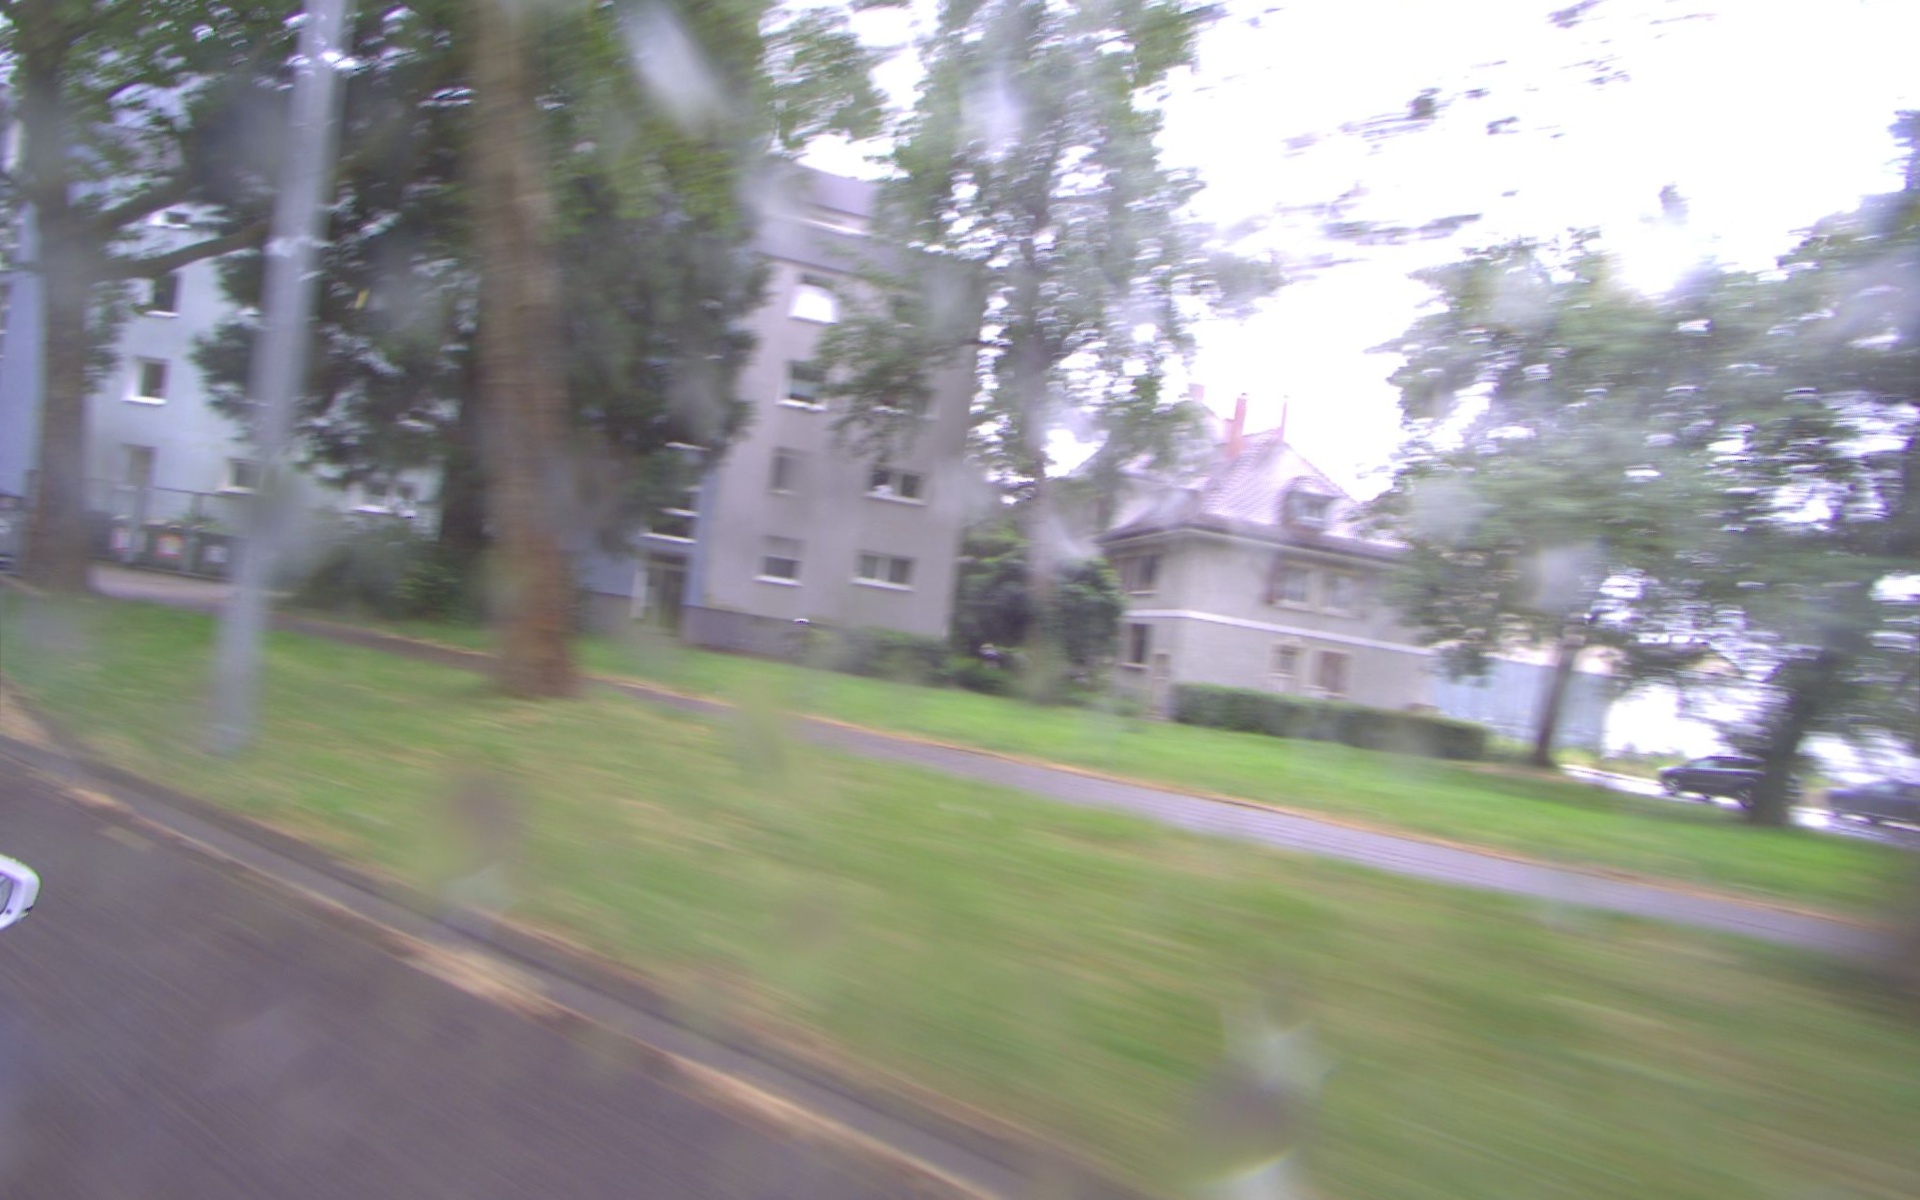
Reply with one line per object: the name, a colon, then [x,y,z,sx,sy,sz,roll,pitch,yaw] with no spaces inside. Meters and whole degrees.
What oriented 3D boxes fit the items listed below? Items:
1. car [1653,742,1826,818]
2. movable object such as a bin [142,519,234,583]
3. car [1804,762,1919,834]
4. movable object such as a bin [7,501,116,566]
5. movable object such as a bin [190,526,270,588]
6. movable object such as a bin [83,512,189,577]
car: [26.687,6.125,34.632,1.969,1.763,4.297,9,-3,-13]
movable object such as a bin: [-21.574,-1.351,28.148,1.345,1.448,1.323,8,-2,5]
car: [31.020,6.671,33.465,1.853,1.829,4.081,9,-3,-13]
movable object such as a bin: [-25.186,-1.847,28.230,1.828,1.448,1.218,8,-2,5]
movable object such as a bin: [-20.144,-1.176,27.795,1.200,1.491,1.162,8,1,5]
movable object such as a bin: [-23.170,-1.558,28.324,1.828,1.448,1.218,8,-2,5]
